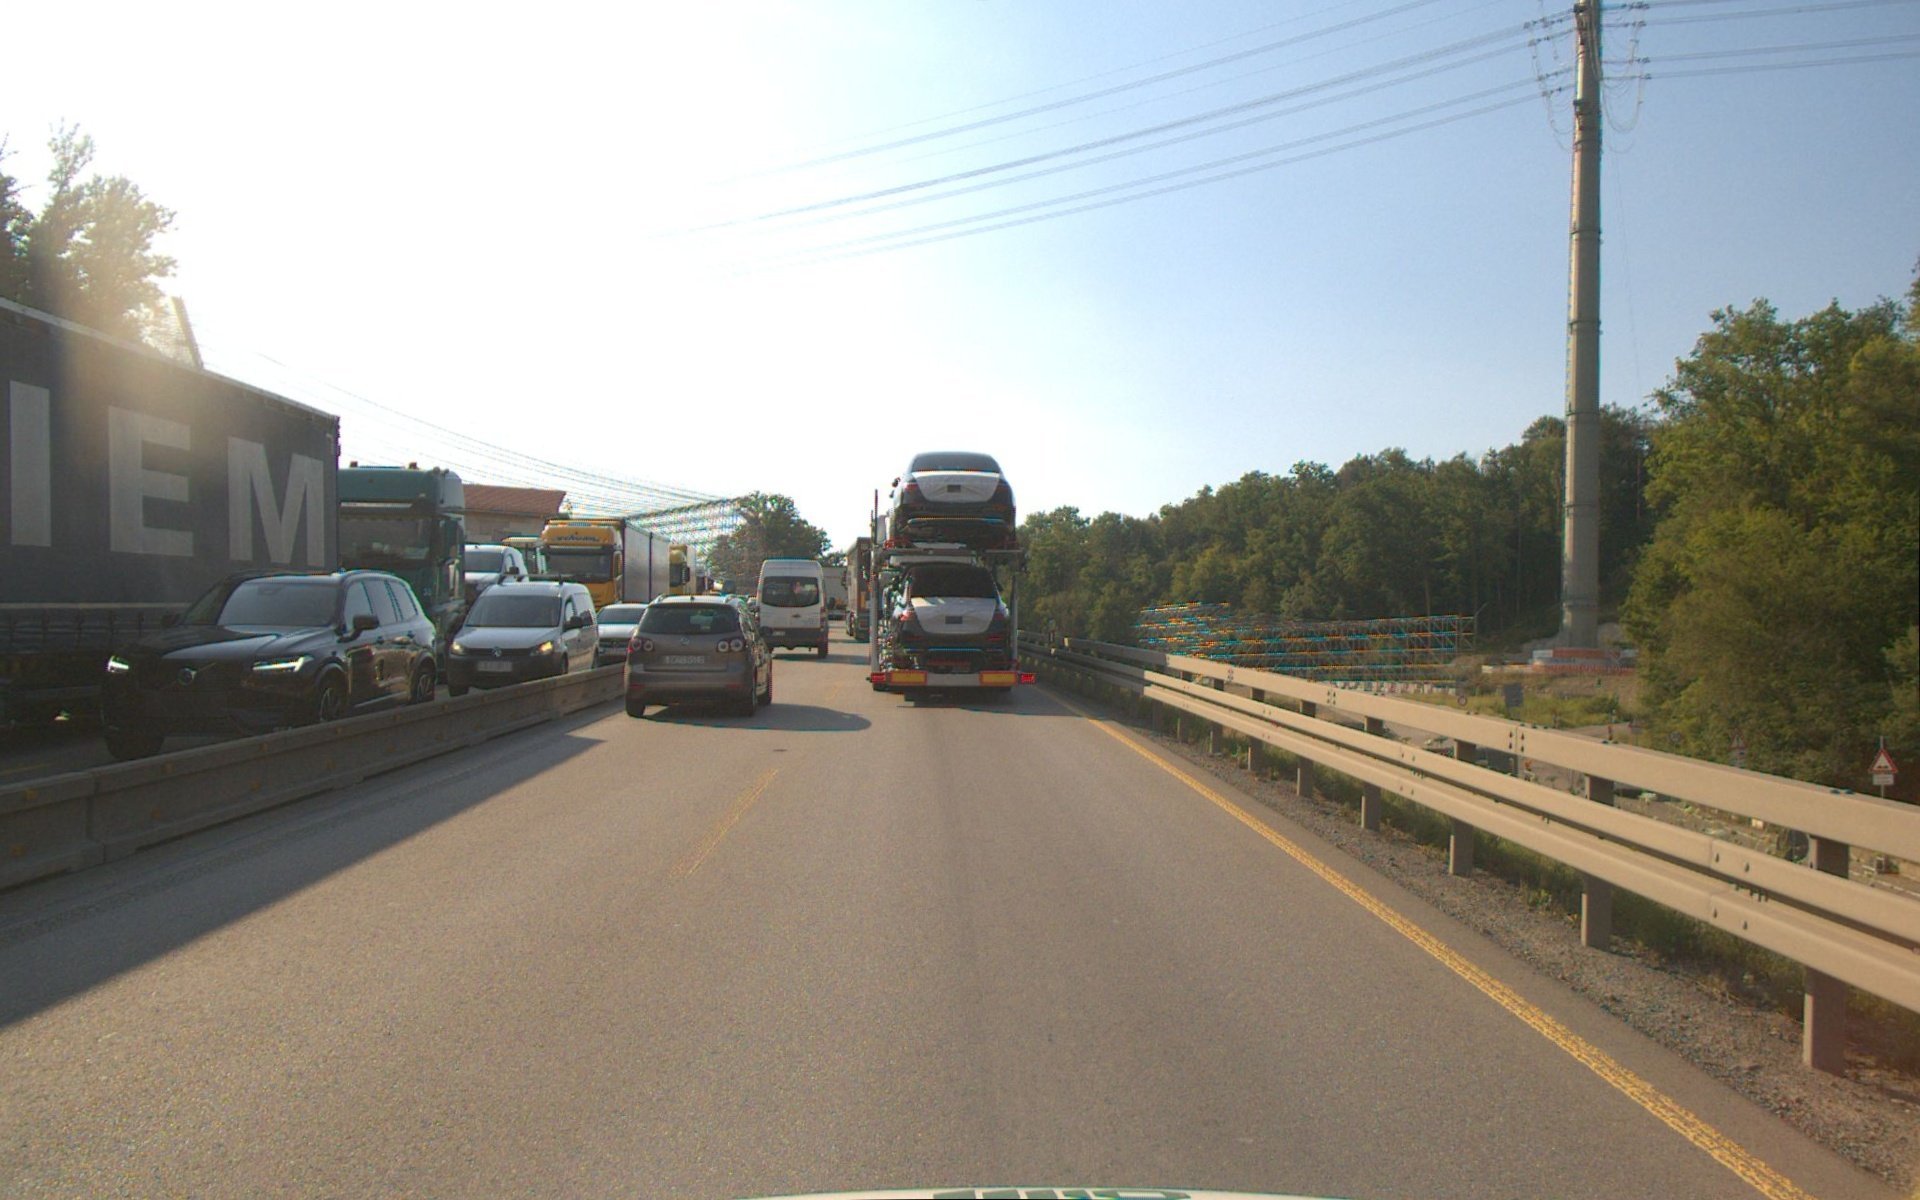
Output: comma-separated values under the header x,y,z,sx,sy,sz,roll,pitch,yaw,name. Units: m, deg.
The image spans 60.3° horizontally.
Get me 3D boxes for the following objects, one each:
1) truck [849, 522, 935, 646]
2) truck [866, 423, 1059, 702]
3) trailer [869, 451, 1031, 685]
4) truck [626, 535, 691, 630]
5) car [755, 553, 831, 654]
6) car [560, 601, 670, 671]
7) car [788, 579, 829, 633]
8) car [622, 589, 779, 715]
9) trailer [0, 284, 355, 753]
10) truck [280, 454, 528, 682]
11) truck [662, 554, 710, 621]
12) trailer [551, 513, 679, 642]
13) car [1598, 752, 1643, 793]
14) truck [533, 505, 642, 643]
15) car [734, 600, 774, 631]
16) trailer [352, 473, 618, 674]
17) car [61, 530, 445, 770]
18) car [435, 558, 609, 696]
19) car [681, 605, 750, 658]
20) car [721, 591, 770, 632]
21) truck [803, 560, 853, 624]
x,y,z,sx,sy,sz,roll,pitch,yaw,name
-3.010,-0.655,69.973,3.165,4.759,11.684,1,0,-5,truck
-0.090,-0.497,27.006,2.812,4.050,5.768,0,-1,-3,truck
-0.506,-0.419,36.470,2.817,4.064,15.270,0,-1,-3,trailer
-13.908,-0.751,76.516,2.642,4.271,4.392,0,-1,-6,truck
-4.645,0.128,46.542,1.940,2.731,4.144,0,-1,-3,car
-8.140,0.837,39.422,1.767,1.548,4.814,-1,-1,-2,car
-6.113,0.259,66.550,1.499,2.049,3.995,3,-1,-6,car
-3.548,0.703,23.247,1.666,1.615,4.145,0,-1,-2,car
-10.050,-0.681,18.260,2.660,4.195,12.485,-1,-1,-3,trailer
-10.439,-0.521,31.868,2.694,3.872,7.106,-1,-1,-3,truck
-17.934,-0.684,108.855,2.756,4.040,13.866,1,-1,-8,truck
-12.677,-0.574,62.304,2.661,4.207,16.733,0,-1,-5,trailer
30.062,7.830,75.323,1.493,1.486,4.270,0,-1,16,car
-11.933,-0.749,53.445,2.648,4.213,5.788,0,-1,-5,truck
-10.227,0.803,82.442,1.753,1.524,4.719,0,-1,-5,car
-10.918,-0.449,40.269,2.694,3.882,16.035,-1,0,-3,trailer
-6.649,0.476,16.236,1.796,1.998,4.896,0,-1,-2,car
-7.054,0.453,27.136,1.788,1.967,5.125,-2,-1,-4,car
-8.004,1.031,54.487,1.921,1.673,4.843,0,-1,-4,car
-9.289,0.539,71.983,1.889,1.731,4.686,0,-1,-5,car
-10.458,-0.618,129.572,3.578,4.759,11.680,1,0,-6,truck
